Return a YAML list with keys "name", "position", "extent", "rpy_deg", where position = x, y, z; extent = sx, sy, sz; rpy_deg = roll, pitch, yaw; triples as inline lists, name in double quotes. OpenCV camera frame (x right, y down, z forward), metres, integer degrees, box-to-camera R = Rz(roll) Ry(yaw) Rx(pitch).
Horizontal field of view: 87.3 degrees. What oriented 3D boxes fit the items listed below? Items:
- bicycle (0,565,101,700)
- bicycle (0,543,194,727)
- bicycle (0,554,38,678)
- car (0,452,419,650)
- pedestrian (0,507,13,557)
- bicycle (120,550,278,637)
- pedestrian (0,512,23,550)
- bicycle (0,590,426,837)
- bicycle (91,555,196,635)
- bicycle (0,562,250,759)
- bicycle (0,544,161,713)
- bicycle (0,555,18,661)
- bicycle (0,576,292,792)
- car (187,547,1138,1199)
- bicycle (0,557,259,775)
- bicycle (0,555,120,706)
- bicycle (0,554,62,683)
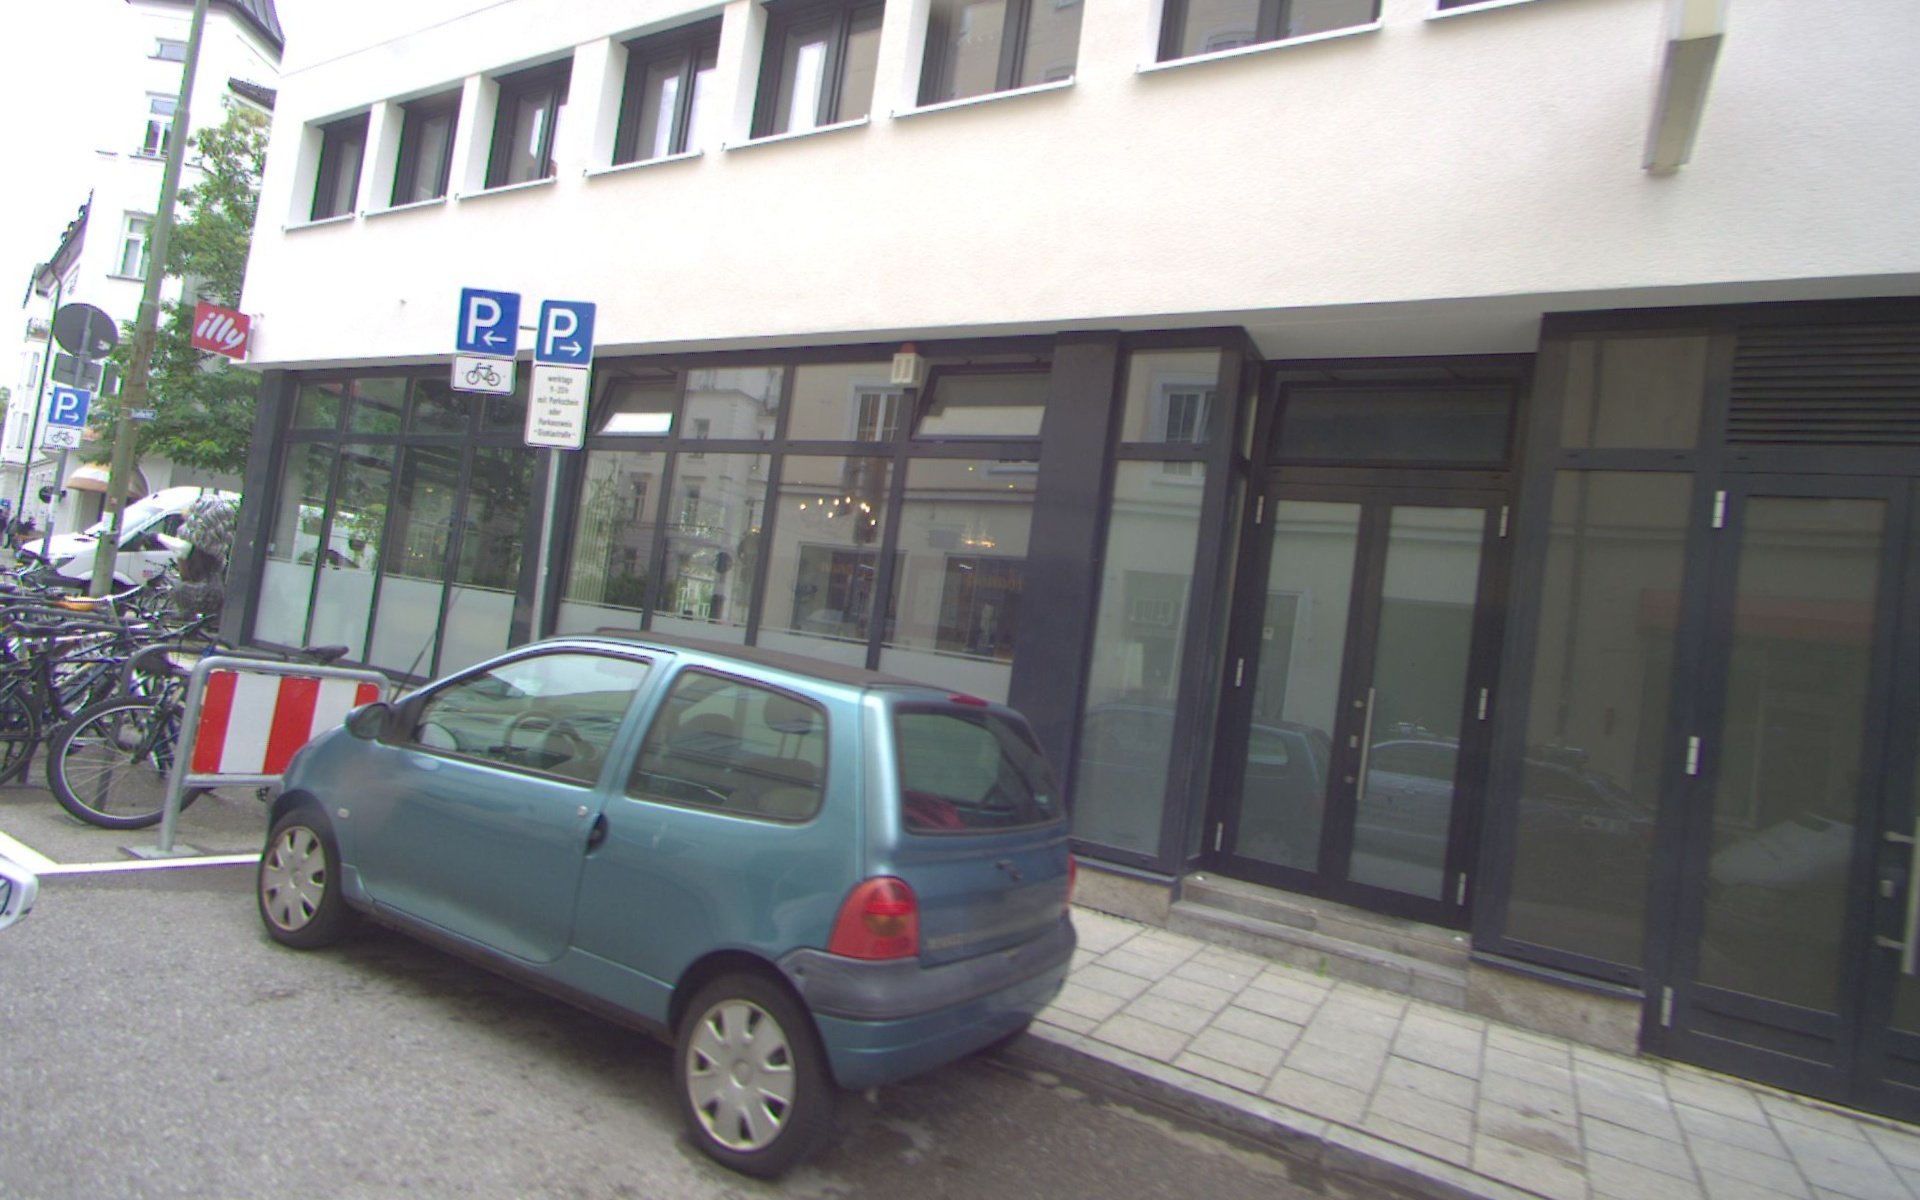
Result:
- name: "bicycle"
  position: [-8.169, 0.198, 7.988]
  extent: [0.554, 1.063, 1.880]
  rpy_deg: [5, -4, 27]
- name: "bicycle"
  position: [-6.614, 0.230, 6.985]
  extent: [0.569, 1.218, 1.879]
  rpy_deg: [7, -2, 28]
- name: "bicycle"
  position: [-9.154, 0.037, 8.498]
  extent: [0.401, 1.091, 1.880]
  rpy_deg: [8, -3, 27]
- name: "car"
  position: [-13.986, -0.757, 19.172]
  extent: [2.027, 2.619, 5.904]
  rpy_deg: [8, -3, 35]
- name: "pedestrian"
  position: [-37.292, -2.664, 38.861]
  extent: [1.010, 1.871, 0.777]
  rpy_deg: [6, -3, 45]
- name: "bicycle"
  position: [-12.702, -0.083, 16.857]
  extent: [0.583, 1.139, 1.905]
  rpy_deg: [6, -4, 35]
- name: "pedestrian"
  position: [-50.380, -3.655, 53.317]
  extent: [0.775, 1.871, 0.850]
  rpy_deg: [10, -3, -38]
- name: "bicycle"
  position: [-4.080, 0.669, 5.573]
  extent: [0.480, 1.090, 1.882]
  rpy_deg: [8, -5, 29]
- name: "bicycle"
  position: [-13.522, -0.072, 16.684]
  extent: [0.334, 1.139, 1.179]
  rpy_deg: [6, -4, 37]
- name: "bicycle"
  position: [-5.981, 0.407, 6.671]
  extent: [0.555, 1.169, 1.881]
  rpy_deg: [8, -4, 29]
- name: "bicycle"
  position: [-7.136, 0.176, 7.311]
  extent: [0.556, 1.183, 1.899]
  rpy_deg: [7, -3, 28]
- name: "bicycle"
  position: [-9.467, 0.031, 8.822]
  extent: [0.371, 1.091, 1.618]
  rpy_deg: [8, -3, 27]
- name: "bicycle"
  position: [-5.100, 0.504, 5.847]
  extent: [0.480, 1.119, 1.881]
  rpy_deg: [8, -4, 29]
- name: "car"
  position: [-1.281, 0.778, 4.102]
  extent: [3.491, 1.480, 1.585]
  rpy_deg: [7, -3, 29]
- name: "bicycle"
  position: [-5.514, 0.404, 6.135]
  extent: [0.480, 1.217, 1.880]
  rpy_deg: [8, -3, 29]
- name: "bicycle"
  position: [-7.619, 0.182, 7.551]
  extent: [0.432, 1.107, 1.880]
  rpy_deg: [8, -3, 27]
- name: "bicycle"
  position: [-8.766, 0.072, 8.308]
  extent: [0.395, 1.091, 1.880]
  rpy_deg: [8, -3, 27]
